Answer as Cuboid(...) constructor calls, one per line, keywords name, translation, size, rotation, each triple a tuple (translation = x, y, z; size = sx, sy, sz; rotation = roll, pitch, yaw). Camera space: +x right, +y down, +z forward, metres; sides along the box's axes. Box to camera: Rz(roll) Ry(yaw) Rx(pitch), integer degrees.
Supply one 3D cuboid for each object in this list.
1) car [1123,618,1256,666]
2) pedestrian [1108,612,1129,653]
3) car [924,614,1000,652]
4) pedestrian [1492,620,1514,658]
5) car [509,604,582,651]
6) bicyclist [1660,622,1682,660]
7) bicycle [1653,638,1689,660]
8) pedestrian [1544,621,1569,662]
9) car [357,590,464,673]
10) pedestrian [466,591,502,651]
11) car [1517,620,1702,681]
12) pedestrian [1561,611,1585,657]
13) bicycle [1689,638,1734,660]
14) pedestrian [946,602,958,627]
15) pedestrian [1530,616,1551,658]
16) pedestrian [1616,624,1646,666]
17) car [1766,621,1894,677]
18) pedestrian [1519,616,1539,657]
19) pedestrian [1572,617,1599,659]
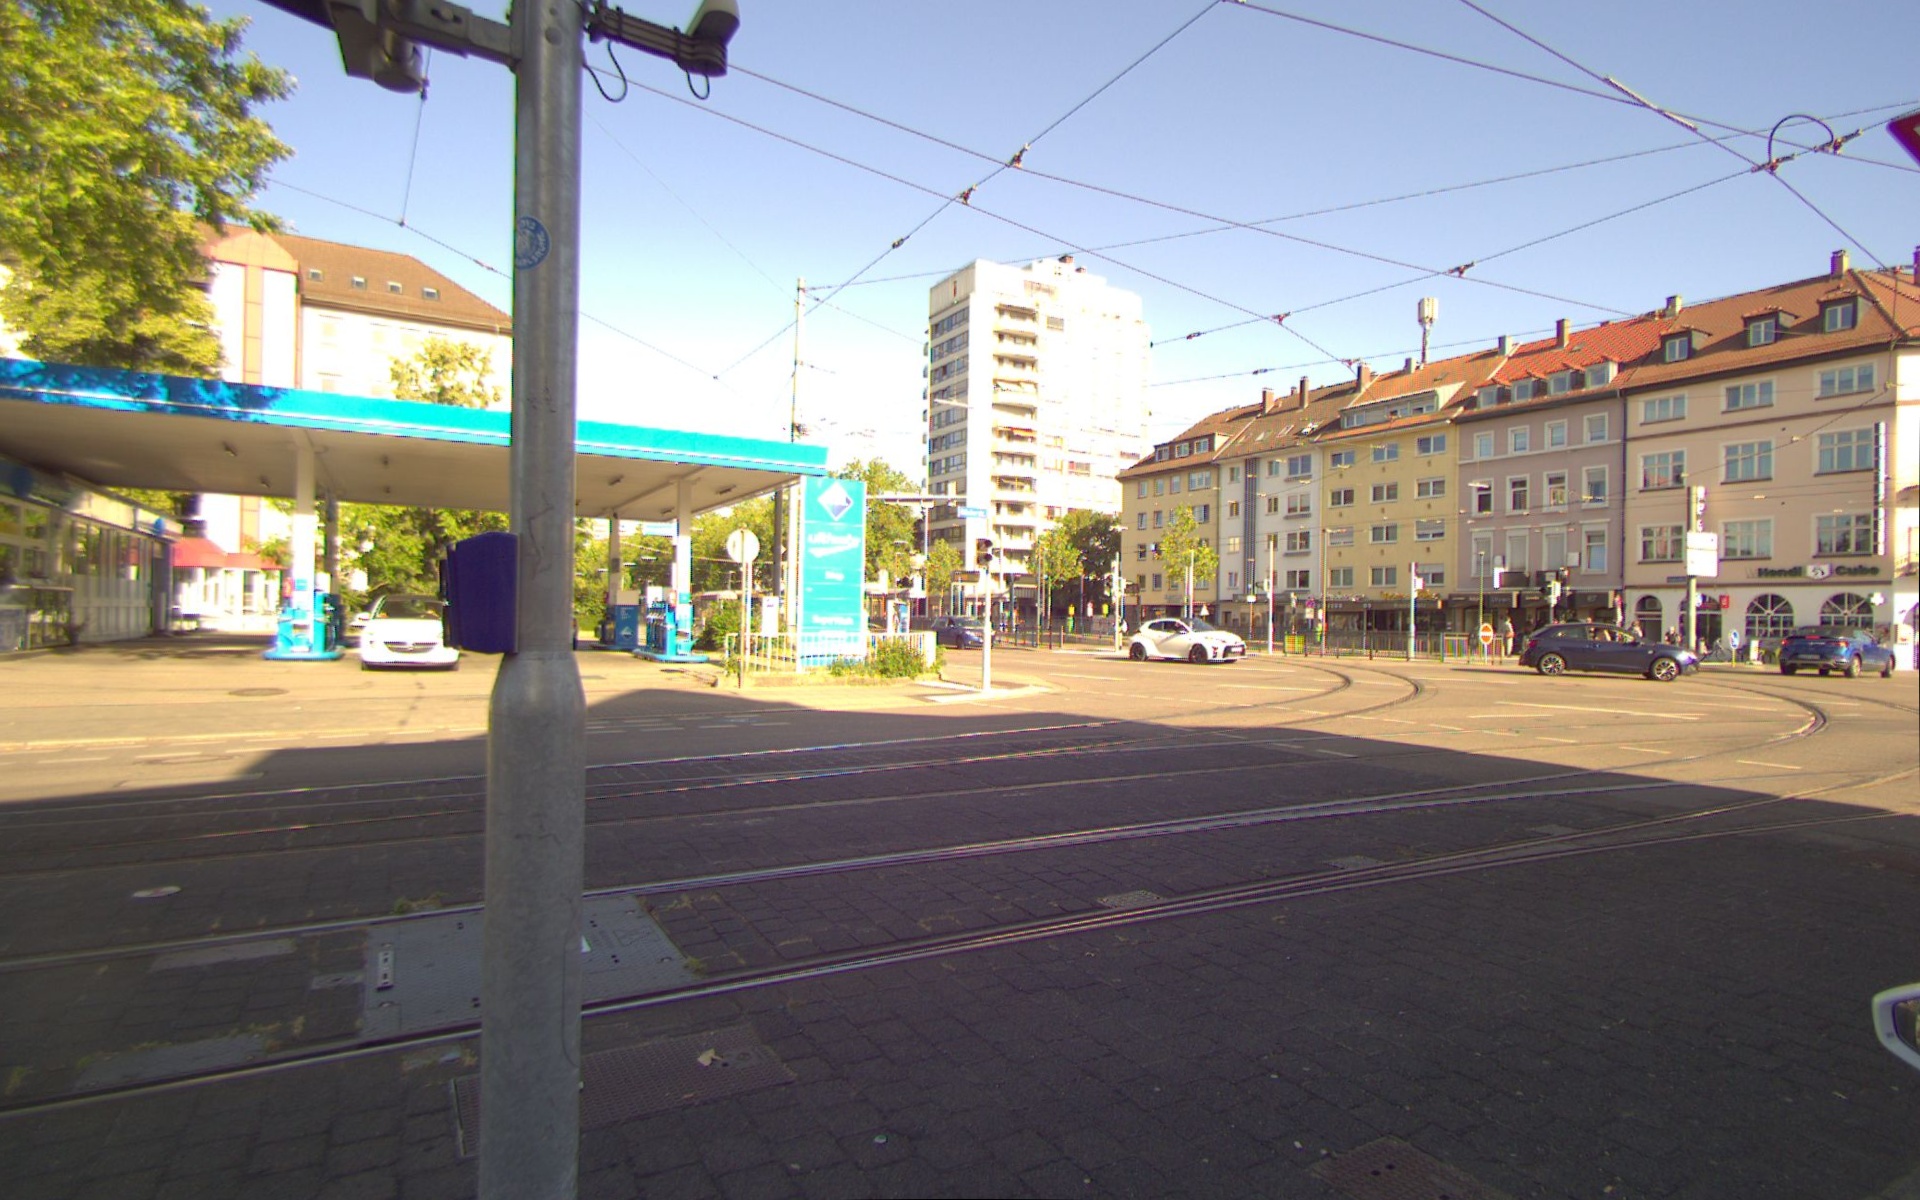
Cuboid(name="car", translation=(7.446, 1.326, 32.836), size=(1.882, 1.473, 3.965), rotation=(1, -1, -38))
Cuboid(name="pedestrian", translation=(6.471, 1.316, 40.903), size=(0.750, 1.631, 0.613), rotation=(2, 0, 15))
Cuboid(name="car", translation=(0.058, 1.481, 45.992), size=(1.769, 1.524, 3.889), rotation=(-3, 1, -30))
Cuboid(name="pedestrian", translation=(23.860, 1.708, 44.148), size=(0.609, 1.670, 0.581), rotation=(2, 0, -30))
Cuboid(name="car", translation=(-13.518, 0.864, 32.648), size=(1.659, 1.372, 3.559), rotation=(2, 0, -31))
Cuboid(name="bicyclist", translation=(34.071, 1.951, 48.118), size=(0.606, 1.814, 0.619), rotation=(2, 0, -25))
Cuboid(name="bicycle", translation=(34.061, 2.350, 48.122), size=(1.731, 1.044, 0.619), rotation=(2, 0, -25))
Cuboid(name="pedestrian", translation=(25.268, 1.752, 42.549), size=(0.719, 1.670, 0.570), rotation=(2, 0, -30))
Cuboid(name="car", translation=(-11.207, 0.588, 20.523), size=(1.723, 1.455, 3.905), rotation=(2, 1, -29))
Cuboid(name="pedestrian", translation=(-13.735, 0.616, 28.995), size=(0.838, 1.724, 0.644), rotation=(2, -3, -31))
Cuboid(name="car", translation=(16.902, 1.279, 26.381), size=(3.927, 1.422, 1.829), rotation=(1, -1, 29))
Cuboid(name="pedestrian", translation=(24.762, 1.381, 40.569), size=(0.669, 1.847, 0.524), rotation=(2, 0, -30))
Cuboid(name="bicycle", translation=(37.836, 2.470, 50.596), size=(0.603, 0.996, 1.693), rotation=(2, 0, -29))
Cuboid(name="pedestrian", translation=(-0.700, 1.249, 86.190), size=(0.729, 2.127, 0.880), rotation=(2, 0, -21))
Cuboid(name="pedestrian", translation=(23.778, 1.517, 41.138), size=(0.492, 1.670, 0.520), rotation=(2, 0, -30))
Cuboid(name="pedestrian", translation=(26.450, 1.775, 39.576), size=(0.805, 1.615, 0.665), rotation=(2, 0, -30))
Cuboid(name="car", translation=(26.605, 1.459, 30.699), size=(4.152, 1.596, 1.816), rotation=(1, 0, -32))
Cuboid(name="pedestrian", translation=(23.661, 1.517, 41.785), size=(0.492, 1.670, 0.520), rotation=(2, 0, -30))
Cuboid(name="pedestrian", translation=(25.596, 1.541, 41.084), size=(0.831, 1.670, 0.579), rotation=(2, 0, -30))
